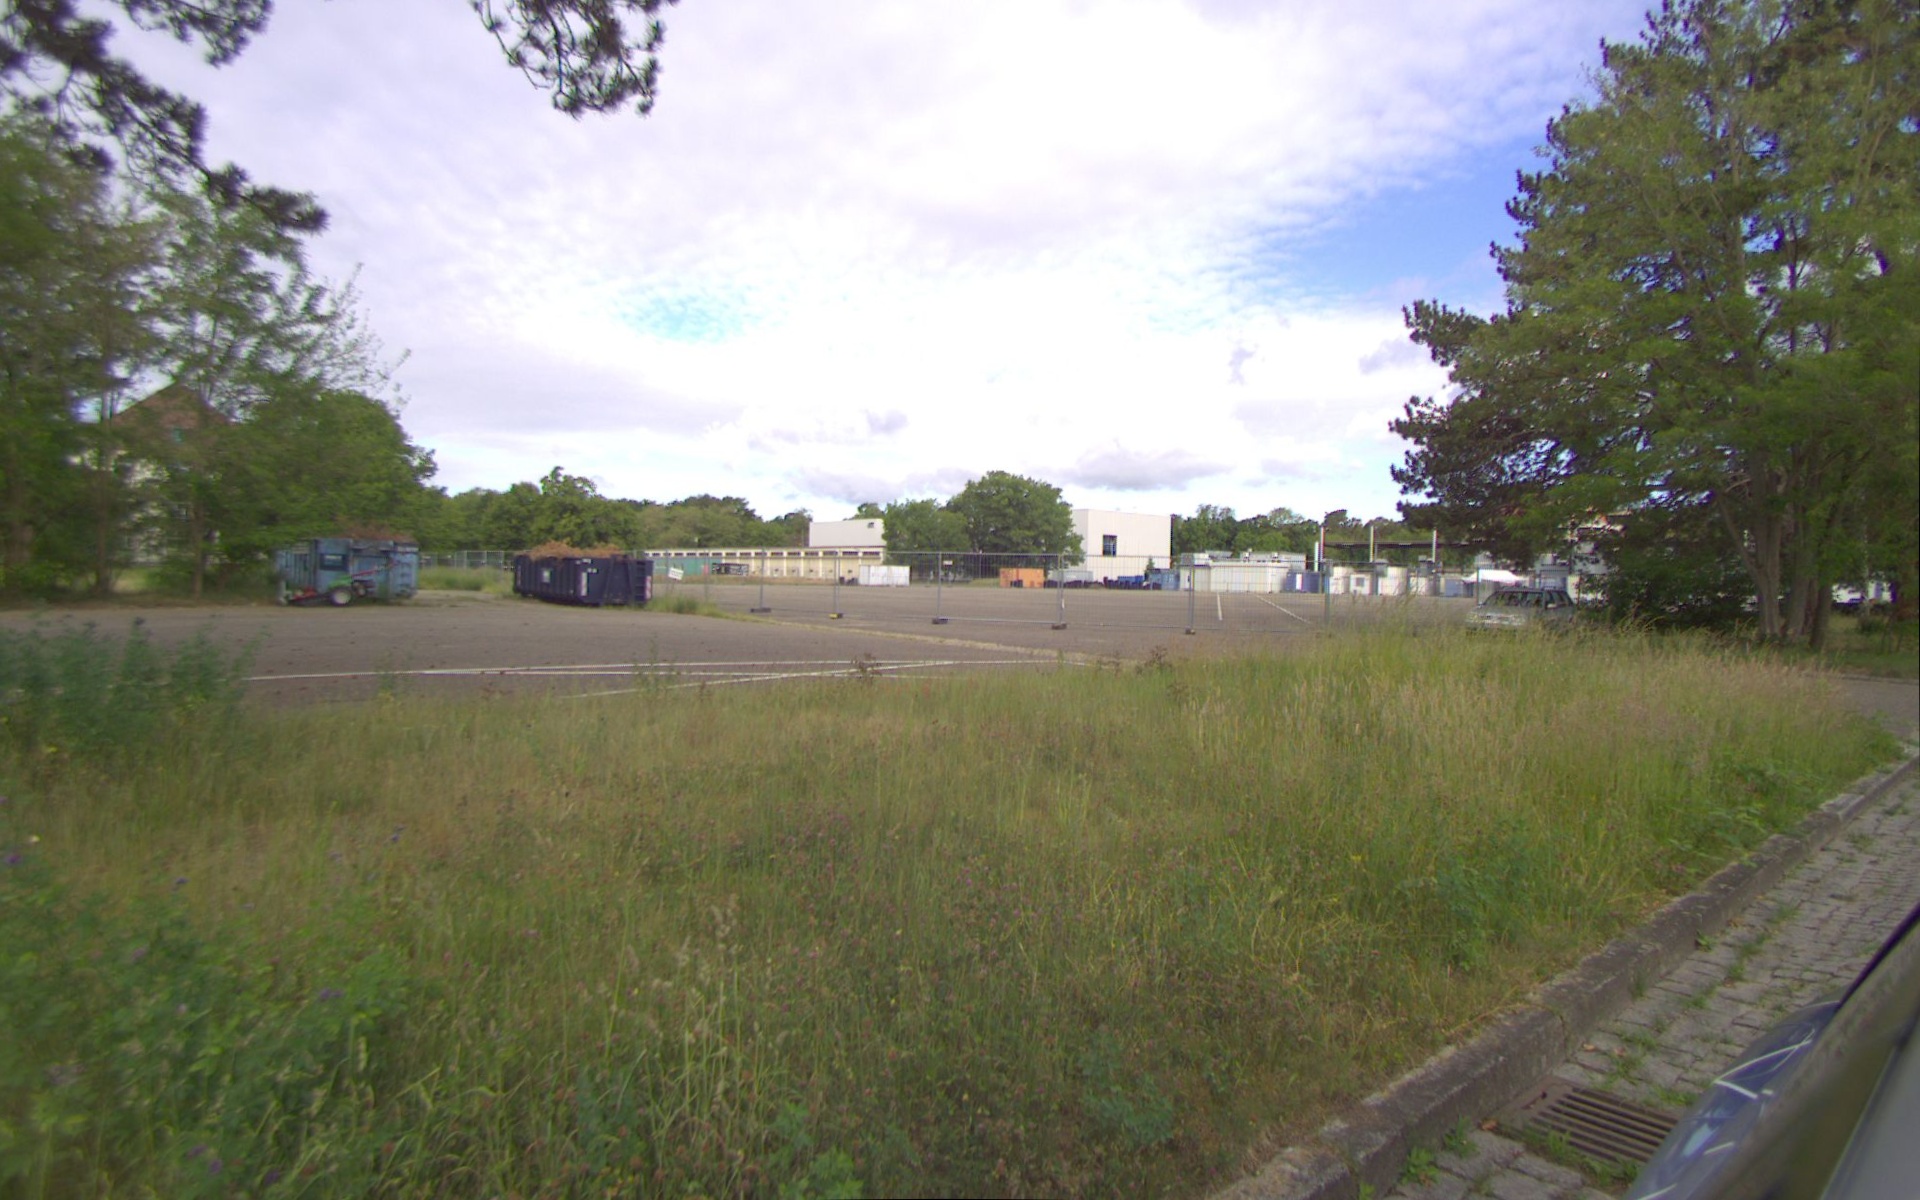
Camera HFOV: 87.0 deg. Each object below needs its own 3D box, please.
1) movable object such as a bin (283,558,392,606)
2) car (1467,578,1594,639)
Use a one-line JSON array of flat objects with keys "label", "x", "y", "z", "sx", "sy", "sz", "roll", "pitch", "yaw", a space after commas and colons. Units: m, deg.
[{"label": "movable object such as a bin", "x": -15.719, "y": -0.449, "z": 25.593, "sx": 0.959, "sy": 1.148, "sz": 2.181, "roll": 0, "pitch": 1, "yaw": 41}, {"label": "car", "x": 15.169, "y": 0.173, "z": 26.798, "sx": 4.414, "sy": 1.469, "sz": 1.676, "roll": -1, "pitch": 2, "yaw": -43}]
